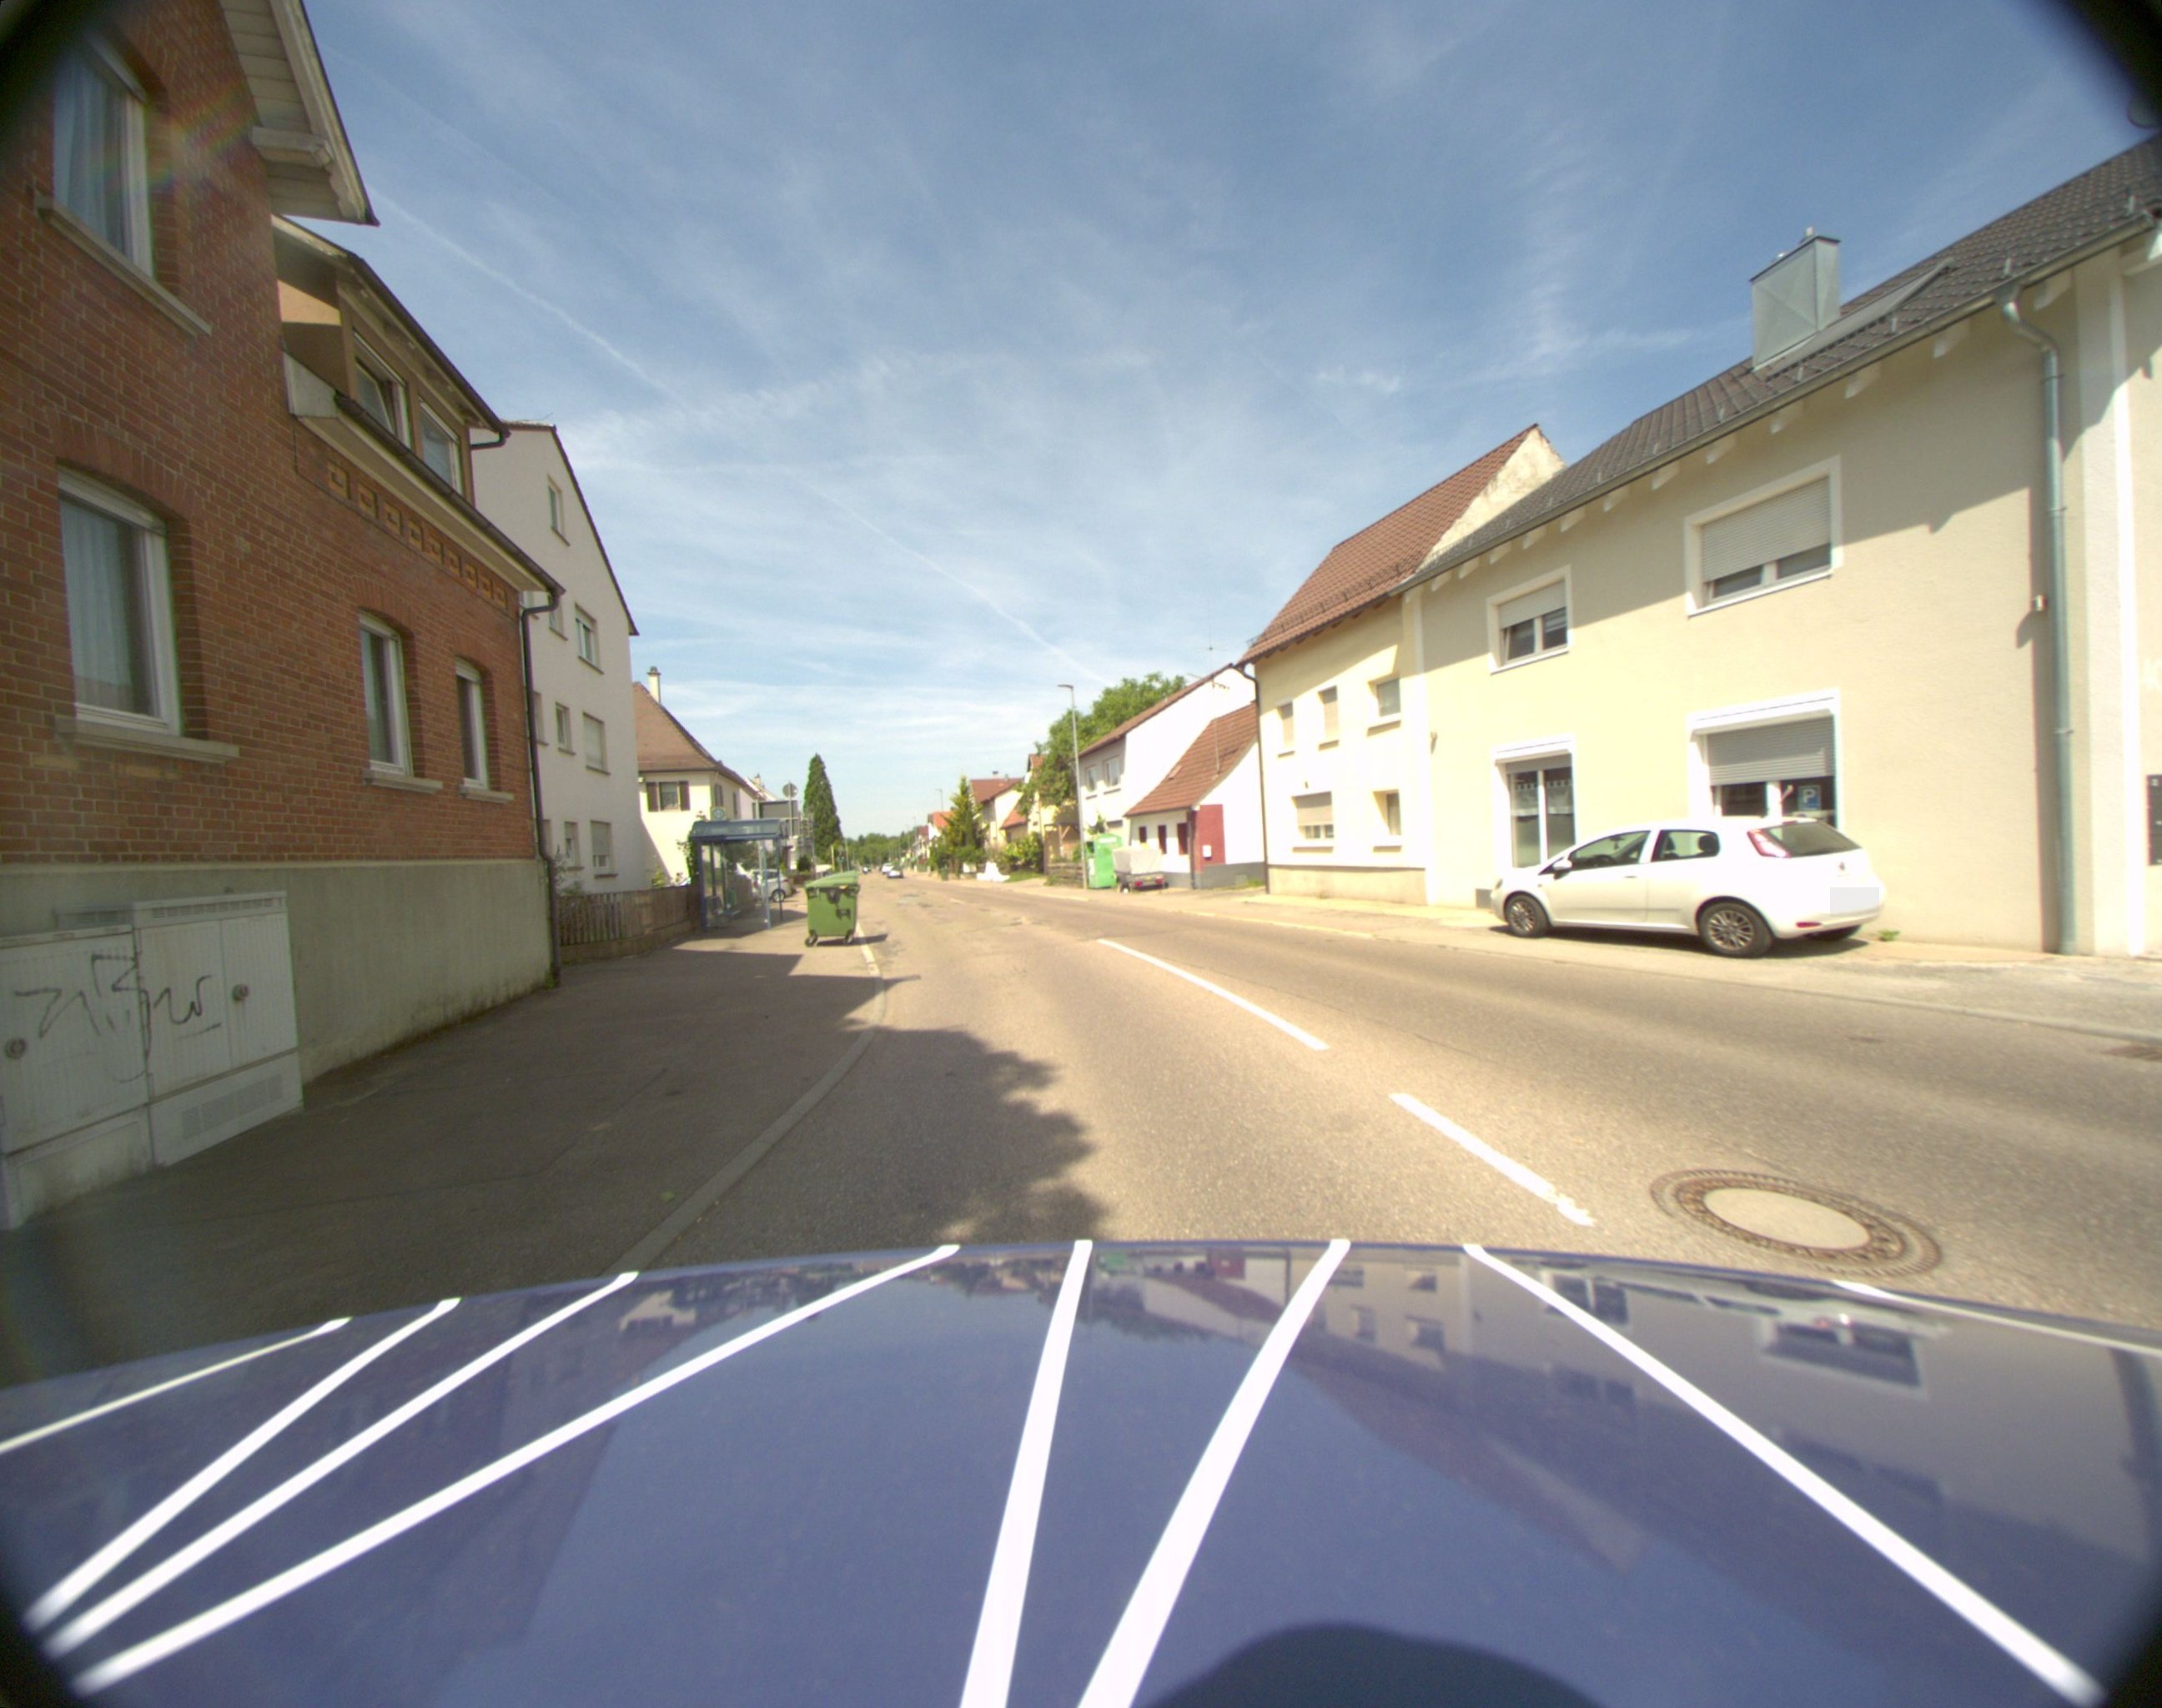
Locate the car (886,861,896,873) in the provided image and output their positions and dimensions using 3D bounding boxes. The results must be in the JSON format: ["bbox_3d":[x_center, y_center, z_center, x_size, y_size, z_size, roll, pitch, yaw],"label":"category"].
[{"bbox_3d":[-29.822,2.021,119.230,1.412,1.690,3.312,-3,0,-16],"label":"car"}]

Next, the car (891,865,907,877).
[{"bbox_3d":[-21.832,1.983,91.121,1.650,1.349,3.562,-3,0,-16],"label":"car"}]

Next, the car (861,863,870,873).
[{"bbox_3d":[-36.811,2.387,129.730,1.412,1.690,3.312,-3,0,-16],"label":"car"}]

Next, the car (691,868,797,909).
[{"bbox_3d":[-15.275,1.534,34.555,4.007,1.562,1.760,-3,0,-39],"label":"car"}]

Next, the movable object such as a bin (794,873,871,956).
[{"bbox_3d":[-5.027,1.177,15.408,1.357,1.512,1.289,-3,0,-19],"label":"movable object such as a bin"}]

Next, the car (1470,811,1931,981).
[{"bbox_3d":[7.161,0.407,9.373,1.827,1.494,3.994,-5,1,-18],"label":"car"}]
